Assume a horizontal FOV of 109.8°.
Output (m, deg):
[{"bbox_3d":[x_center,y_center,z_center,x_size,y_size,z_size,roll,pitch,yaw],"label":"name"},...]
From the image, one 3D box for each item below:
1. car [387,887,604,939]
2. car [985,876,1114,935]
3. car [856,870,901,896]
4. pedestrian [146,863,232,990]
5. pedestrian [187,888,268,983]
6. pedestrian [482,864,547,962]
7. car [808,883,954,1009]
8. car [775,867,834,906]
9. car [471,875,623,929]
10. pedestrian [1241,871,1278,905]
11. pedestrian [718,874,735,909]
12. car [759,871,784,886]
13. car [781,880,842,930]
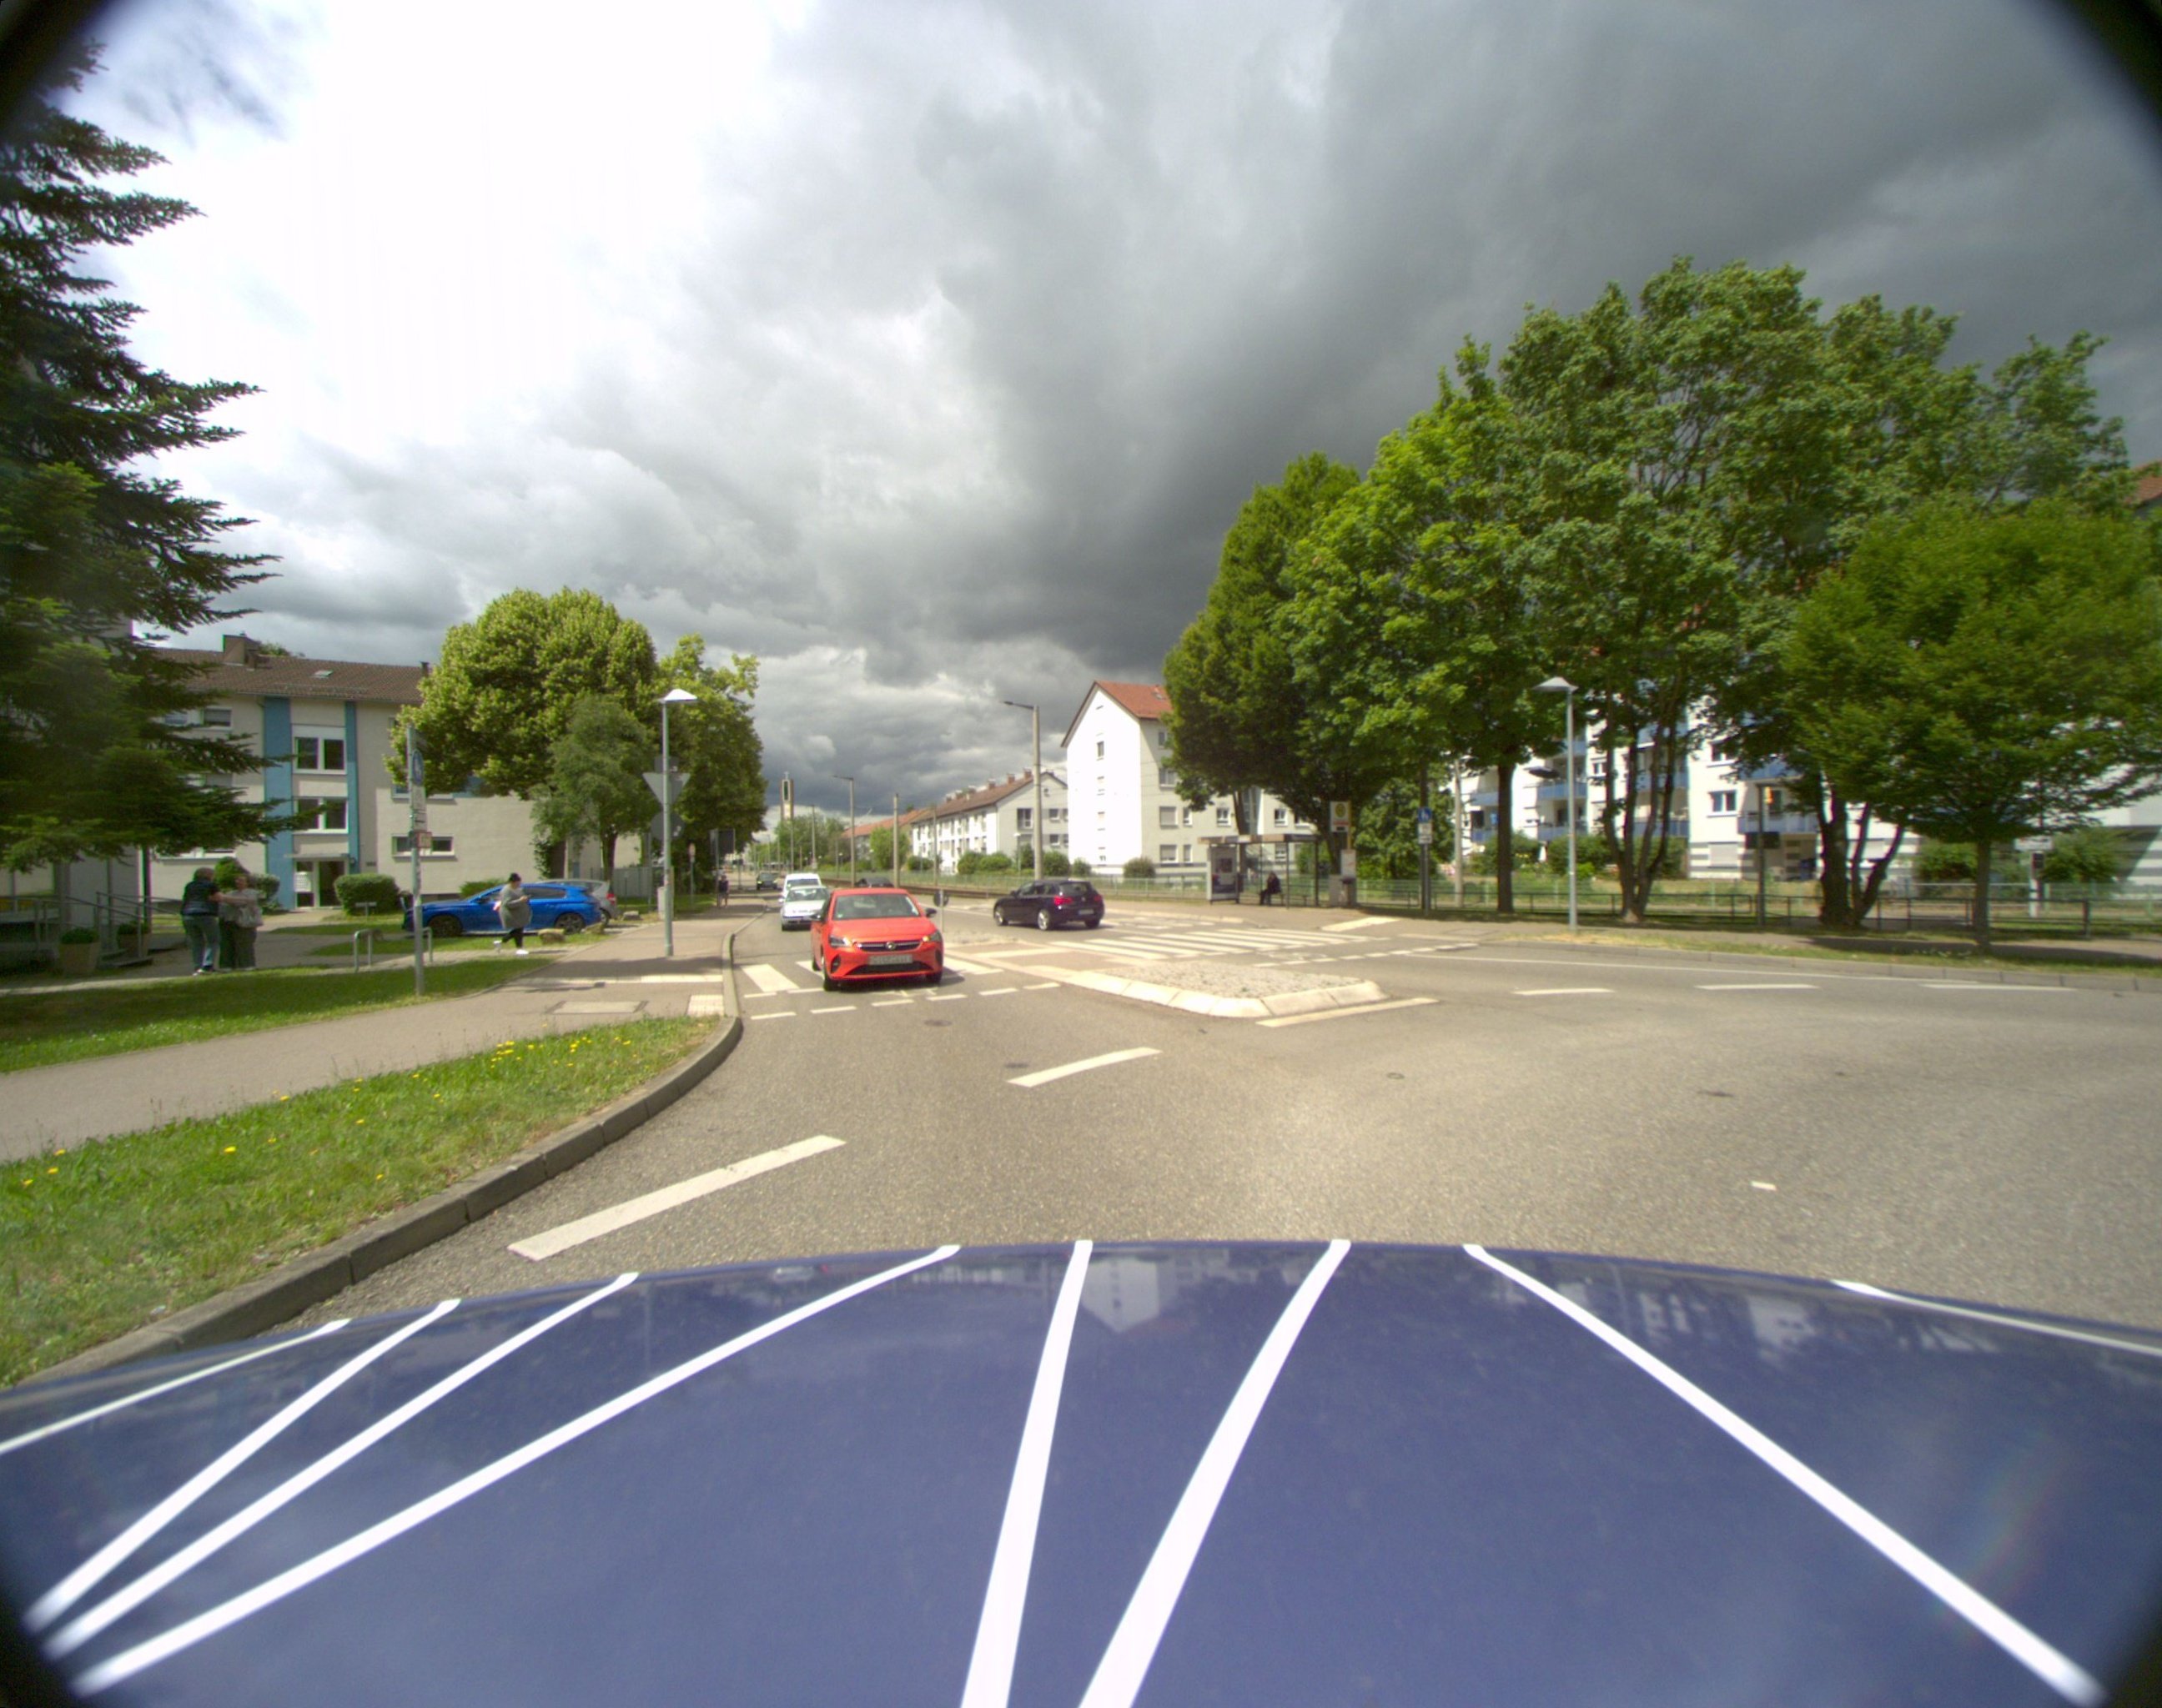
[{"bbox_3d":[-15.818,1.574,20.867,4.506,1.236,1.995,3,-2,-34],"label":"car"},{"bbox_3d":[-1.053,1.437,22.640,1.862,1.446,4.377,-2,1,-32],"label":"car"},{"bbox_3d":[-11.638,1.611,43.495,1.826,1.375,4.609,0,0,-23],"label":"car"},{"bbox_3d":[-14.800,1.150,12.639,0.657,2.002,1.044,0,0,-34],"label":"pedestrian"},{"bbox_3d":[-14.596,1.364,13.012,0.745,1.520,0.689,0,0,-32],"label":"pedestrian"},{"bbox_3d":[-11.733,1.182,15.727,0.840,1.945,0.944,-1,0,44],"label":"pedestrian"},{"bbox_3d":[-3.383,1.302,12.292,1.769,1.548,3.992,0,0,-22],"label":"car"},{"bbox_3d":[-12.501,1.420,34.202,2.003,1.598,3.991,0,0,-27],"label":"car"},{"bbox_3d":[-16.782,1.485,24.104,3.748,1.547,2.027,2,-2,-32],"label":"car"},{"bbox_3d":[6.208,1.159,26.424,0.802,1.128,0.909,-2,1,-29],"label":"pedestrian"},{"bbox_3d":[-17.239,1.820,36.937,0.685,1.650,0.829,0,0,-31],"label":"pedestrian"},{"bbox_3d":[-29.919,2.322,73.616,1.921,1.309,3.994,0,0,-17],"label":"car"},{"bbox_3d":[-8.798,1.598,25.049,1.766,1.389,3.994,0,0,-17],"label":"car"}]
